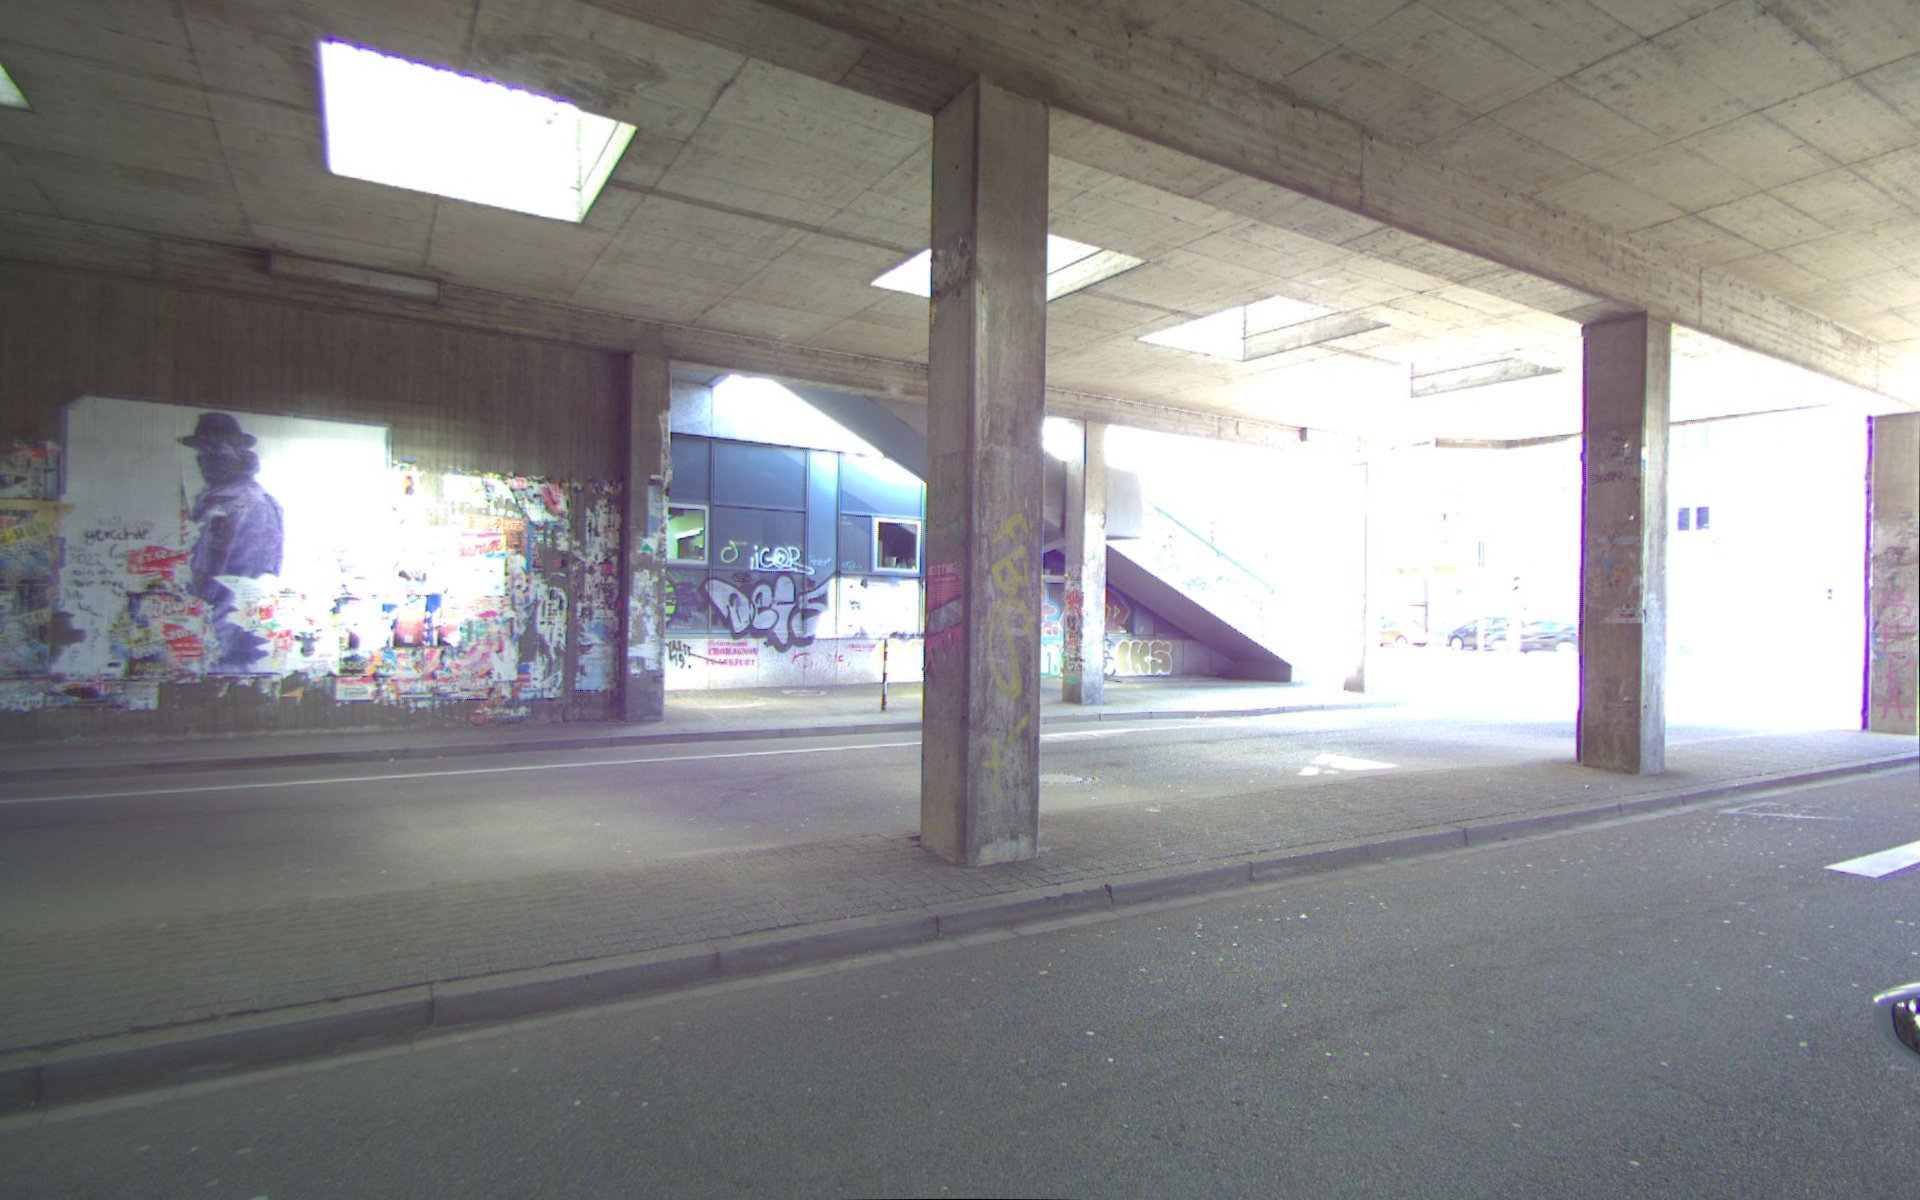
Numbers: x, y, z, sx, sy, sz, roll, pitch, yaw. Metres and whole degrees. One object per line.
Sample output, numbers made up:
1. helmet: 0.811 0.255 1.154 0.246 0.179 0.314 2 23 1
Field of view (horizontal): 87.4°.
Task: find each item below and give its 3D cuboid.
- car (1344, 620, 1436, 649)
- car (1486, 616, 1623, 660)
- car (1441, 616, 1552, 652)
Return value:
1. car: 22.482 1.779 52.660 2.163 1.392 3.971 1 -1 -28
2. car: 23.276 1.458 39.496 1.857 1.572 4.373 1 -1 -24
3. car: 25.403 1.589 47.649 2.240 1.571 4.111 1 -1 -29
